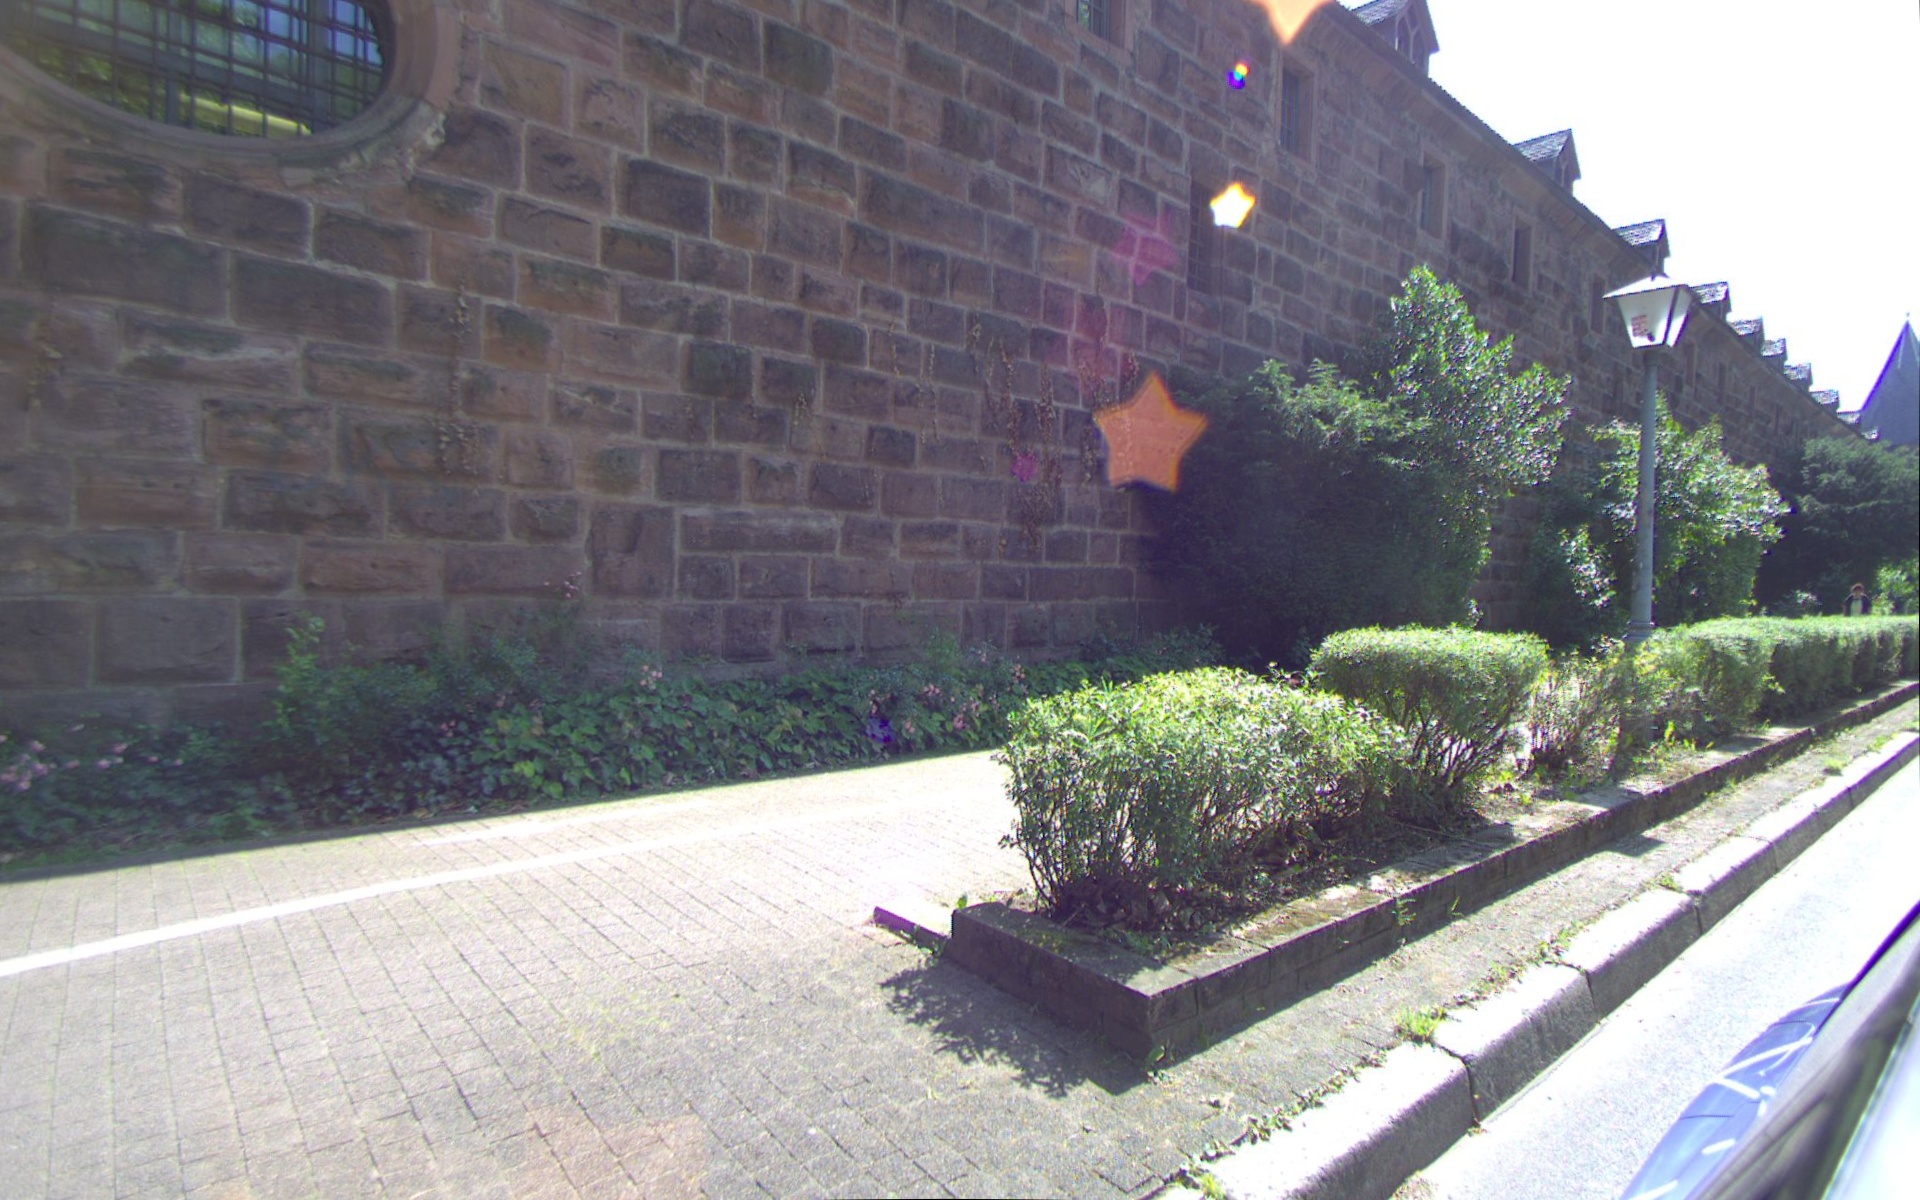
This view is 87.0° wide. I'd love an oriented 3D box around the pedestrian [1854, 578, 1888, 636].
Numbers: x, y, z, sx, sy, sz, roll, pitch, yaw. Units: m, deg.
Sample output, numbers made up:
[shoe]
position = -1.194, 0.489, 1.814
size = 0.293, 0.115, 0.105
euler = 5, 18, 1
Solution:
[pedestrian]
position = 25.228, 0.178, 28.020
size = 0.554, 1.583, 0.642
euler = 0, 0, -41
